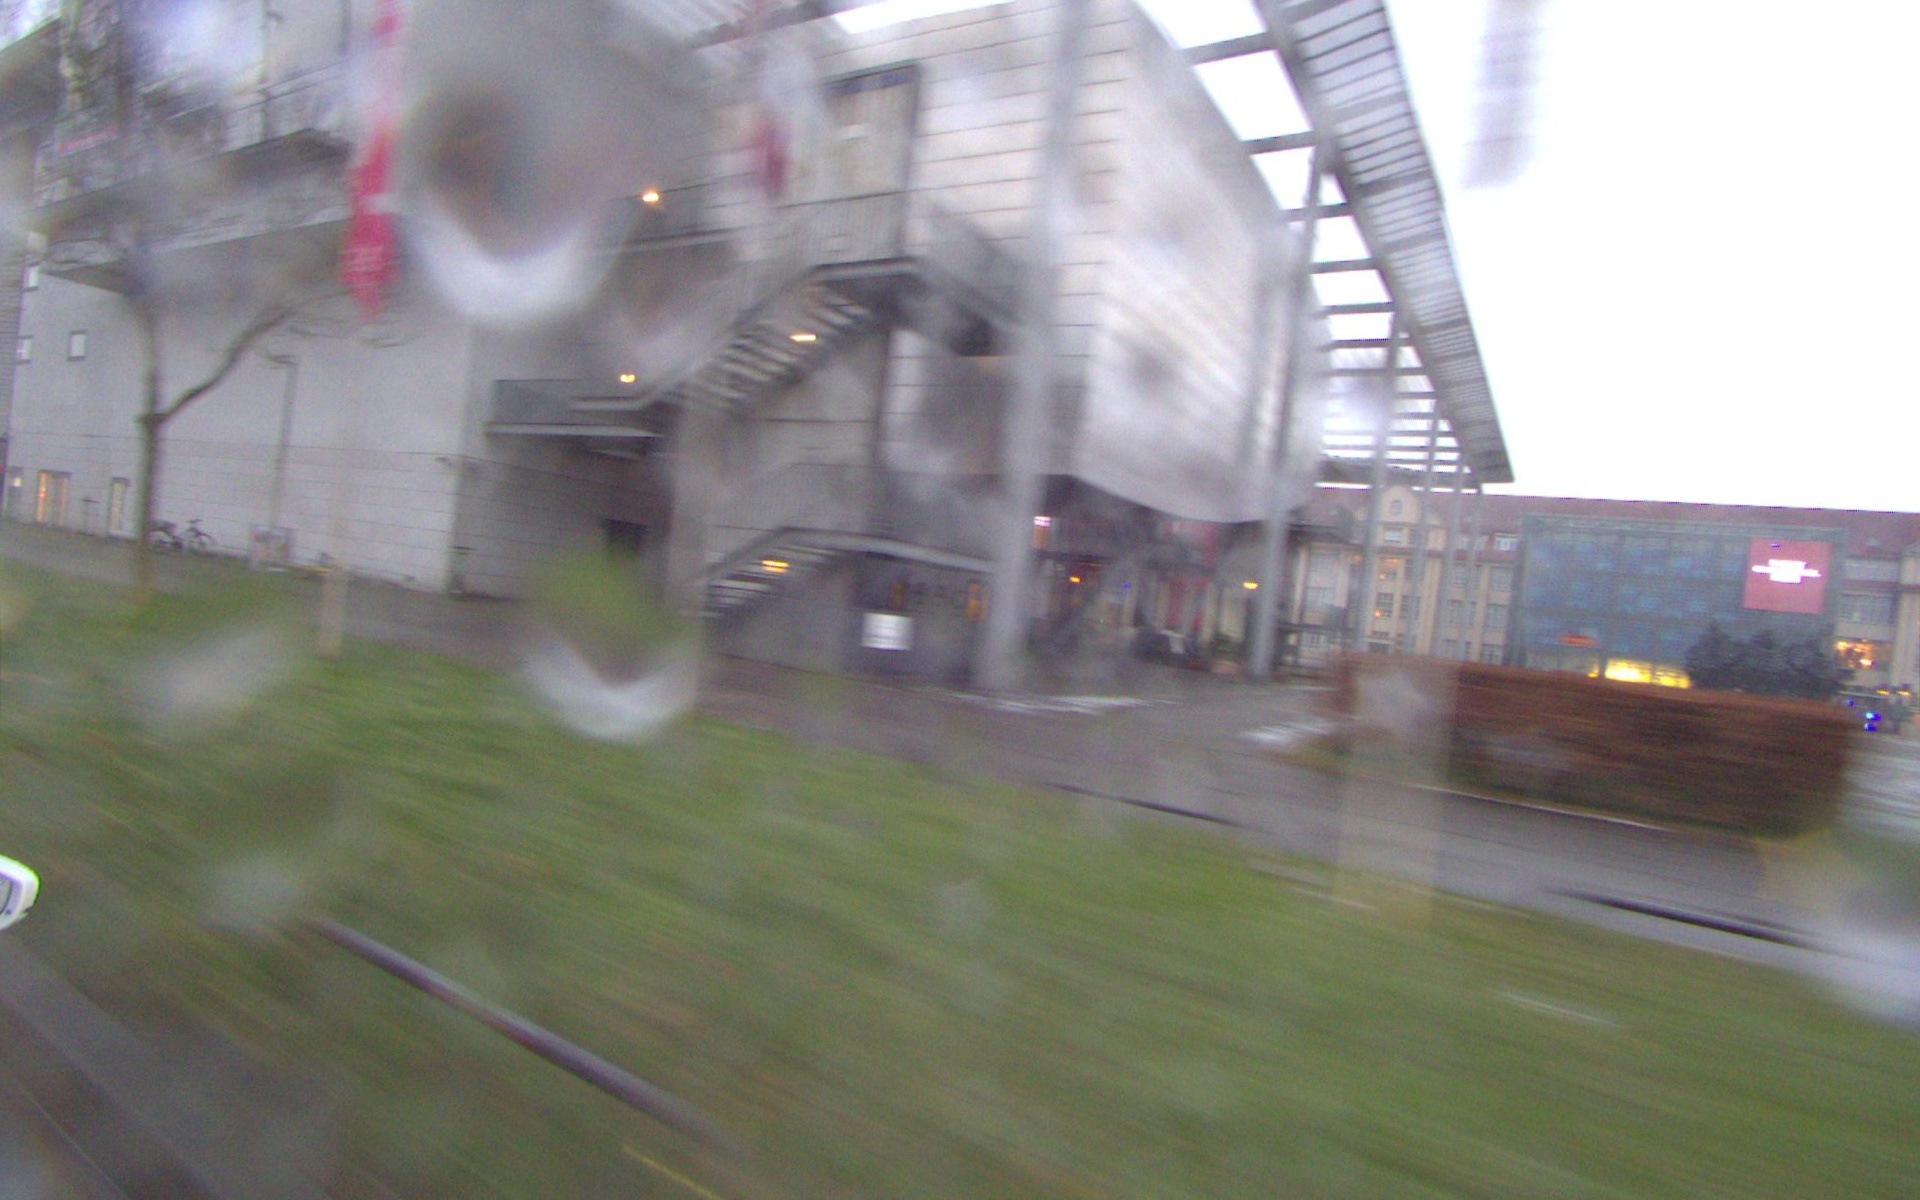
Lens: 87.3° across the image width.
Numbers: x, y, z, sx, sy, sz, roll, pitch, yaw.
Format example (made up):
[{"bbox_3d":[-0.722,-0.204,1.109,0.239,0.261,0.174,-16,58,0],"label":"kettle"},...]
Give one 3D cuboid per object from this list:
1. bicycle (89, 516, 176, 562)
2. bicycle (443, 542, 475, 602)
[{"bbox_3d":[-23.283,-1.701,28.345,0.390,1.065,1.811,7,1,30],"label":"bicycle"},{"bbox_3d":[-11.782,-0.672,23.622,0.407,1.299,1.730,8,-1,-31],"label":"bicycle"}]
